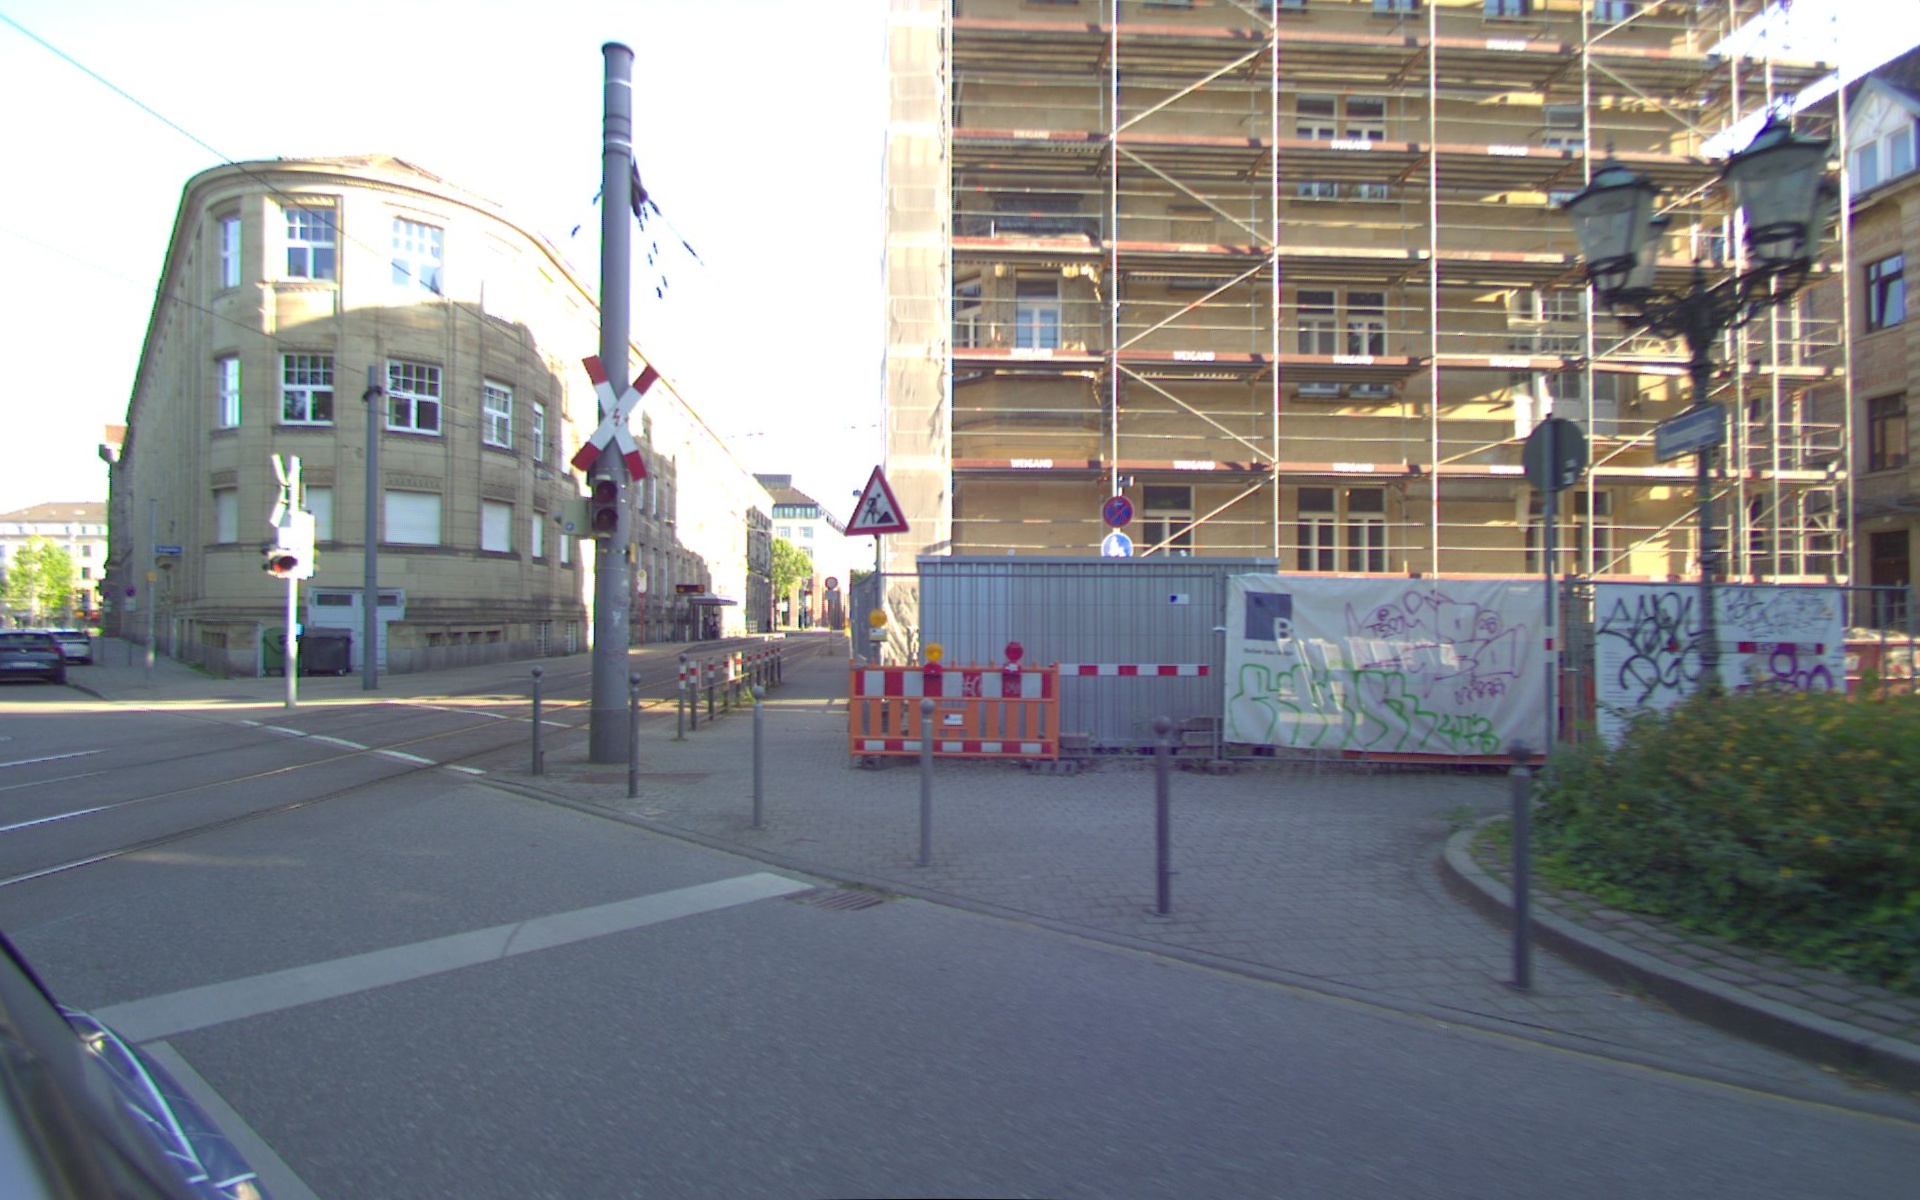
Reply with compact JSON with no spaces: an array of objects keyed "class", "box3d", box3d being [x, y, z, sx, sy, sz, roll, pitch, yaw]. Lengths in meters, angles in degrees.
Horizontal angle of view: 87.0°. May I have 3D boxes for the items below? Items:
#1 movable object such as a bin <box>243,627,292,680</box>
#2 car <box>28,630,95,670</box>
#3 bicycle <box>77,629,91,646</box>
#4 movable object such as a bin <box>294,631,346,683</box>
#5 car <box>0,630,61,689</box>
[{"class":"movable object such as a bin","box3d":[-20.195,1.532,29.495,1.130,1.497,1.631,1,-2,-35]},{"class":"car","box3d":[-35.984,1.953,40.489,4.563,1.446,1.724,-2,-1,45]},{"class":"bicycle","box3d":[-64.045,2.728,74.000,0.450,1.218,1.883,1,-2,-33]},{"class":"movable object such as a bin","box3d":[-18.568,1.620,29.354,1.167,1.439,1.926,1,-2,-35]},{"class":"car","box3d":[-25.155,1.536,26.857,1.723,1.459,4.211,2,-2,-44]}]
